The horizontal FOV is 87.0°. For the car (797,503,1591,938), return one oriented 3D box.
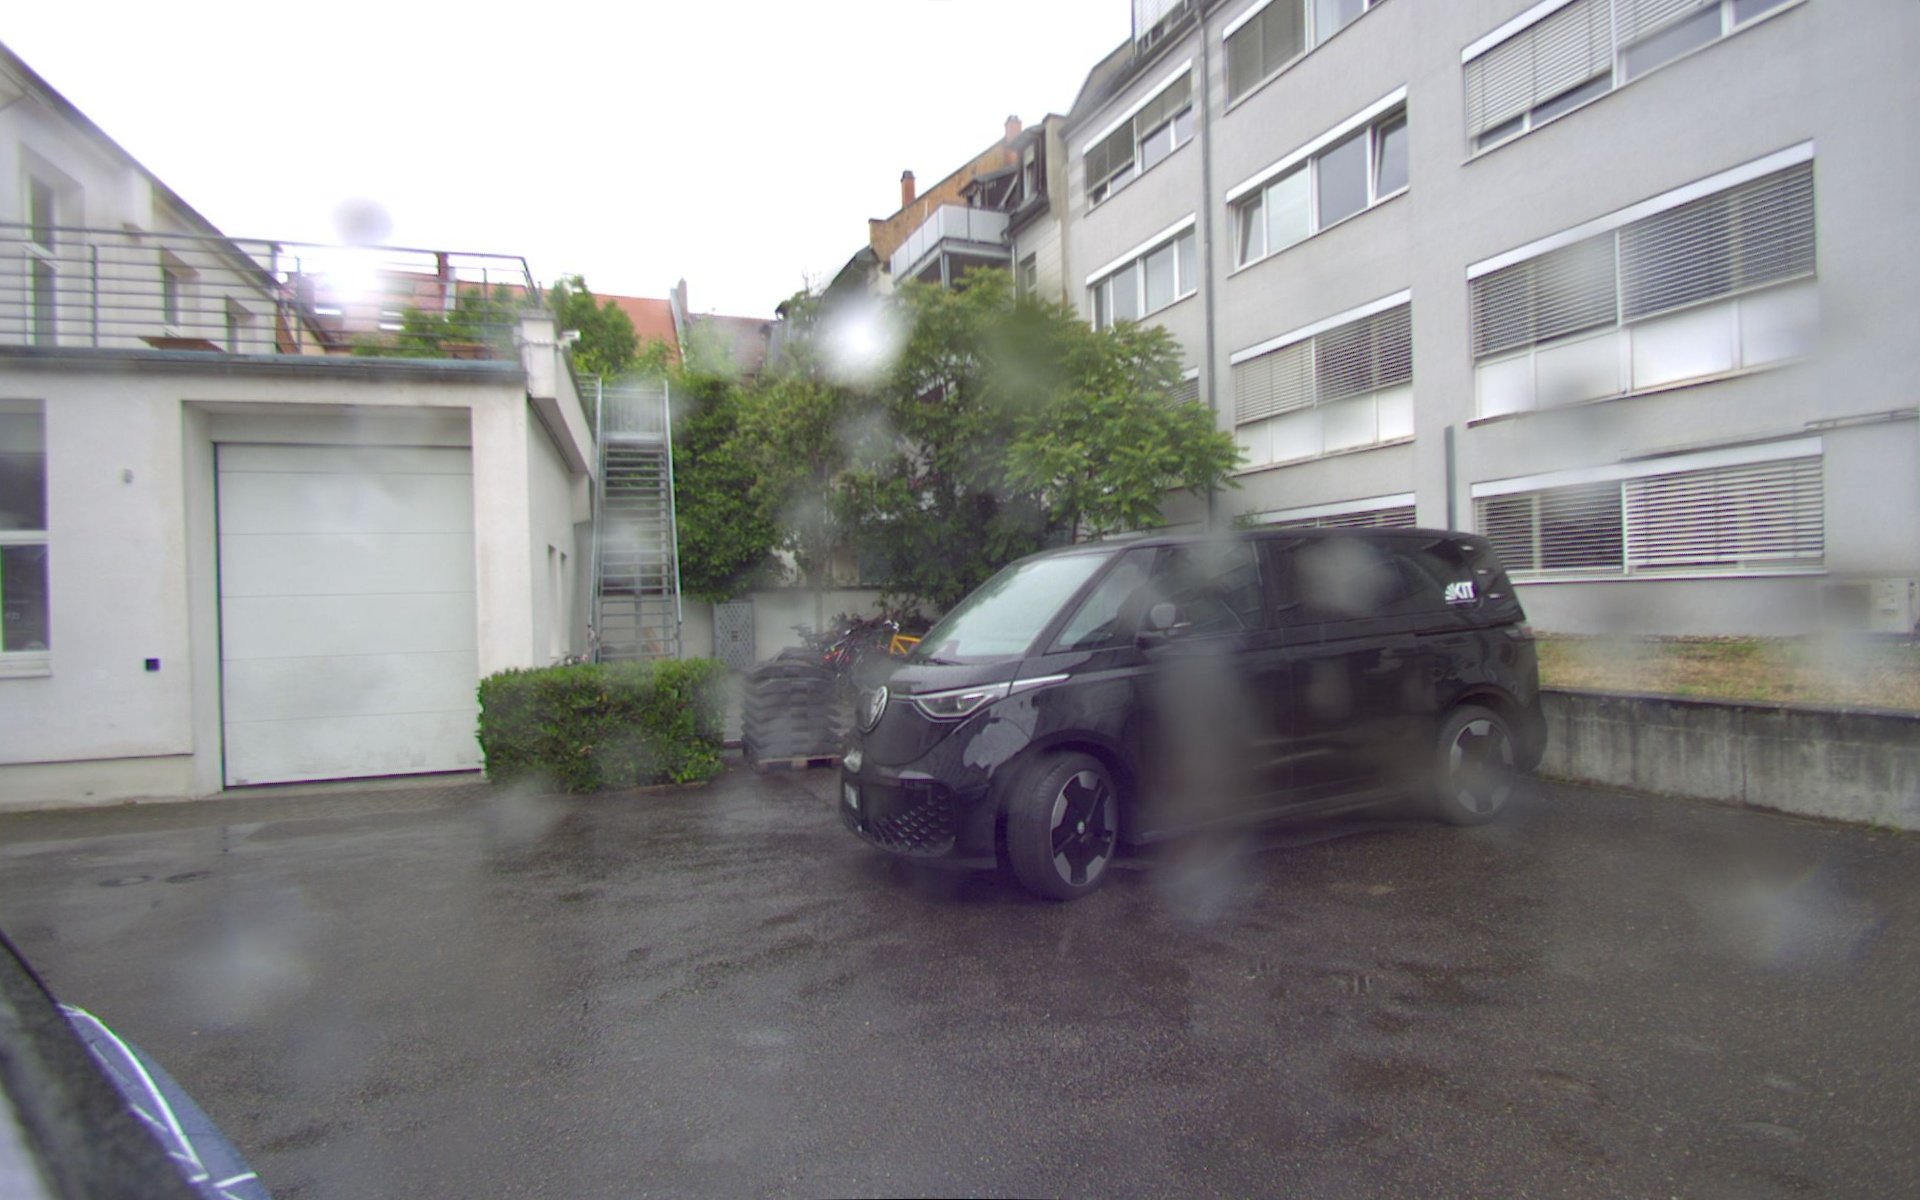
[{"bbox_3d":[1.461,0.496,6.332,4.444,1.911,2.053,-2,-1,-25],"label":"car"}]
